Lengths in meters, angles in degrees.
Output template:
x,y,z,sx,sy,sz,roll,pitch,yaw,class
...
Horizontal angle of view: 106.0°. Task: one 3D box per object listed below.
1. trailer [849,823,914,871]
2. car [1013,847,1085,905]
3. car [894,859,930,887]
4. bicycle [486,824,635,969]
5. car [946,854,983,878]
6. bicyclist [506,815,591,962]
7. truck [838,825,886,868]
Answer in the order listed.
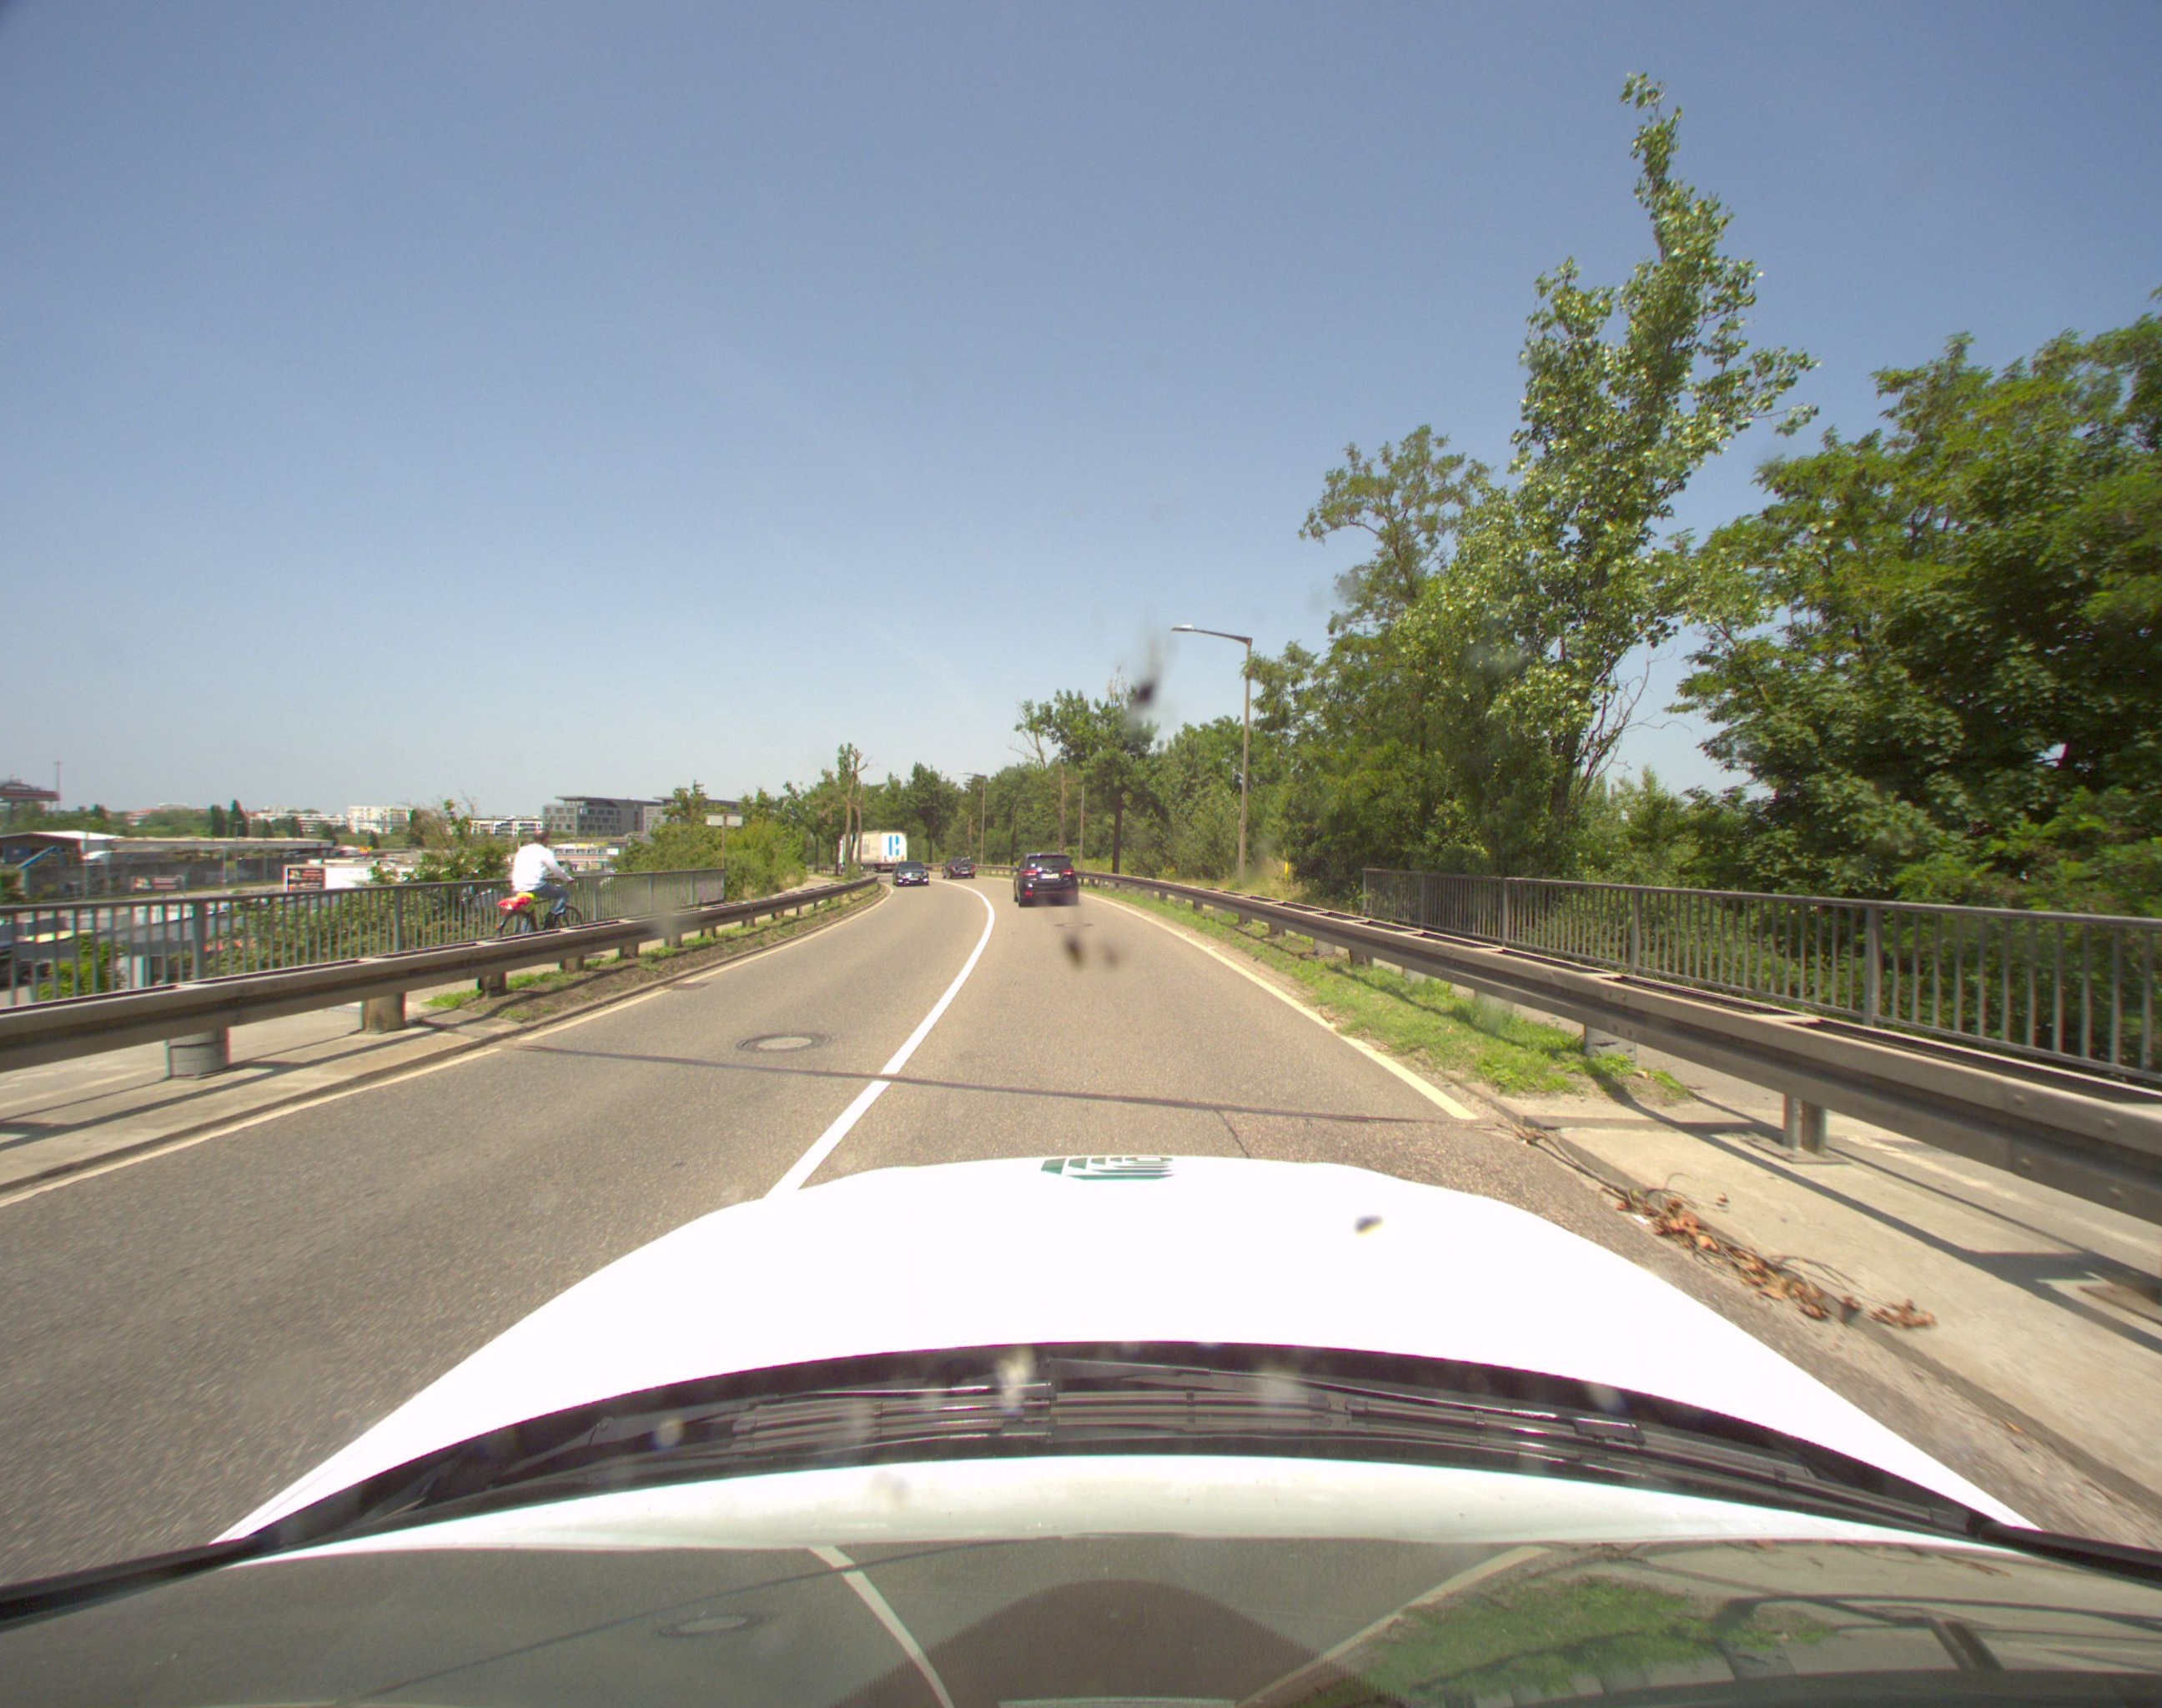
x,y,z,sx,sy,sz,roll,pitch,yaw,class
-20.058,-0.739,81.063,3.590,4.383,11.338,-1,1,-28,trailer
-1.072,0.616,25.240,1.919,1.574,3.883,-1,1,-7,car
-9.499,1.028,45.498,1.679,1.443,4.108,-2,0,-15,car
-7.095,0.505,11.259,0.696,1.801,2.179,-1,1,-3,bicycle
-7.836,0.796,54.412,2.015,1.429,3.758,-1,1,-15,car
-7.070,0.441,10.837,0.622,1.886,0.712,-1,1,-3,bicyclist
-23.726,-0.833,87.962,3.594,4.440,6.455,-1,1,-29,truck
